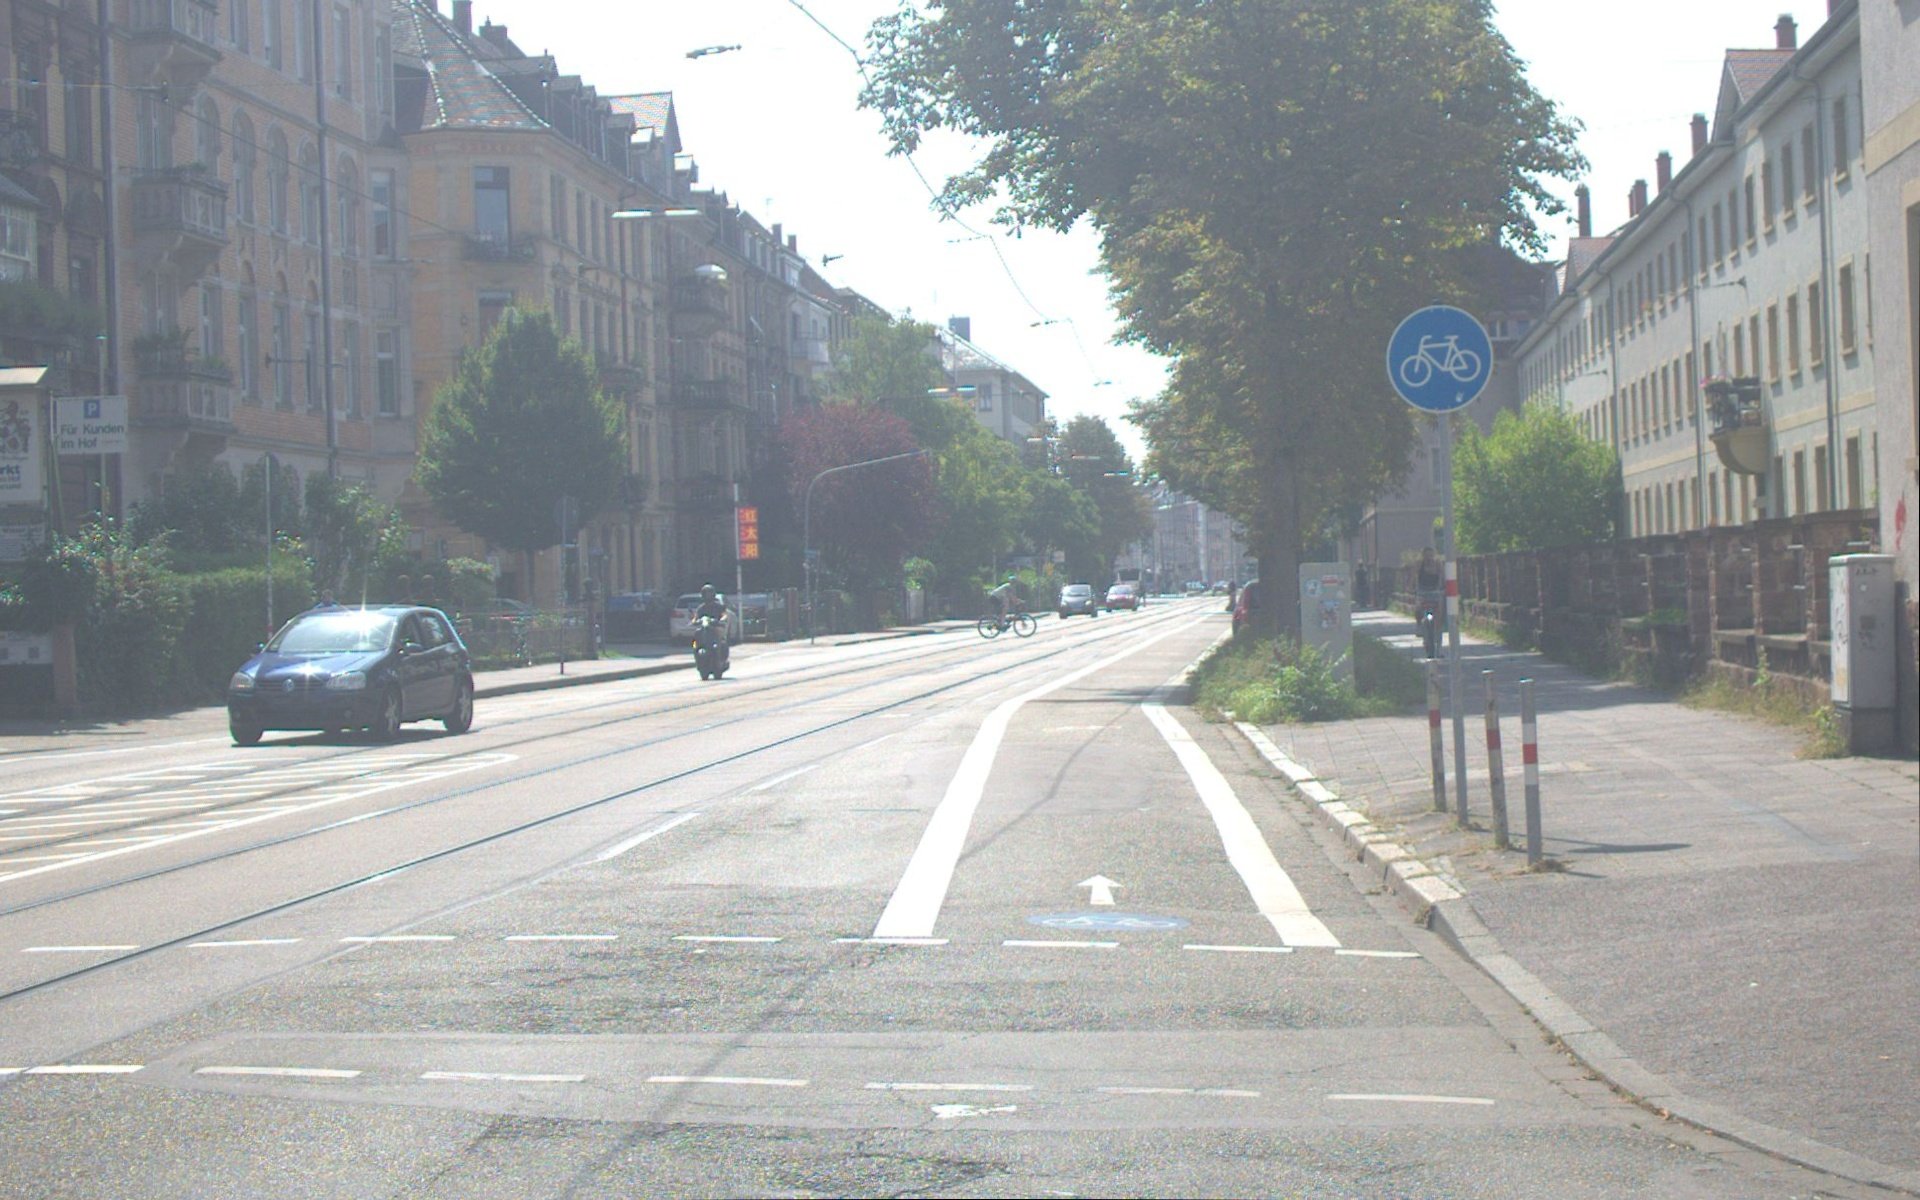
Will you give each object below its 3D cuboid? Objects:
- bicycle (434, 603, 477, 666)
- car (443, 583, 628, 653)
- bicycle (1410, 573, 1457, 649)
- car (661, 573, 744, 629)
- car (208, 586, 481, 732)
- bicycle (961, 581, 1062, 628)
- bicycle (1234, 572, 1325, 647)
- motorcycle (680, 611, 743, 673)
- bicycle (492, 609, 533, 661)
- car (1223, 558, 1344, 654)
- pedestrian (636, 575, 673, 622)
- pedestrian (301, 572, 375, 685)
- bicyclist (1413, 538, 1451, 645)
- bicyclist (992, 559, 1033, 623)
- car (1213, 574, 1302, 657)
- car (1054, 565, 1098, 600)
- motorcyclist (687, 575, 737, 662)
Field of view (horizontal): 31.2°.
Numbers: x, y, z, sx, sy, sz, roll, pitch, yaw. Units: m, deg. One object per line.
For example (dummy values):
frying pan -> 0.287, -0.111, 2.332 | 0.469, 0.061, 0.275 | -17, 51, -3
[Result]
bicycle -> -9.640, 0.651, 65.688 | 0.390, 1.144, 1.581 | -2, 1, 6
car -> -10.274, 0.423, 83.386 | 4.102, 1.589, 1.878 | -1, 0, 7
bicycle -> 6.752, 0.148, 49.072 | 0.440, 1.043, 1.829 | -2, 0, 2
car -> -7.807, 0.026, 104.663 | 1.993, 1.589, 4.359 | -2, 0, 2
car -> -6.738, 0.607, 38.080 | 1.727, 1.428, 4.176 | 0, 1, 9
bicycle -> 1.514, 0.139, 100.710 | 2.702, 1.265, 1.152 | -2, 0, -14
bicycle -> 4.924, 0.144, 52.942 | 1.388, 1.104, 0.389 | -2, 0, -30
motorcycle -> -4.391, 0.732, 60.847 | 0.691, 1.027, 2.157 | -2, 0, 7
bicycle -> -9.301, 0.721, 71.506 | 0.390, 1.035, 1.833 | -2, 1, 6
car -> 5.589, 0.079, 59.111 | 1.618, 1.525, 3.497 | -3, 0, 12
pedestrian -> -9.906, -0.049, 111.514 | 0.883, 1.506, 0.870 | -2, 0, -25
pedestrian -> -9.884, 0.451, 54.643 | 0.883, 1.750, 0.870 | -2, 0, 6
bicyclist -> 6.741, -0.126, 49.088 | 0.437, 1.507, 0.472 | -2, 0, 2
bicyclist -> 1.543, -0.266, 100.713 | 0.952, 1.831, 1.129 | -2, 0, -10
car -> 5.853, 0.289, 67.371 | 1.617, 1.472, 4.038 | -3, 0, 6
car -> 5.556, -0.845, 164.709 | 1.827, 1.535, 3.999 | -3, 0, 5
motorcyclist -> -4.391, 0.322, 60.940 | 0.689, 1.506, 0.772 | -2, 0, 7
